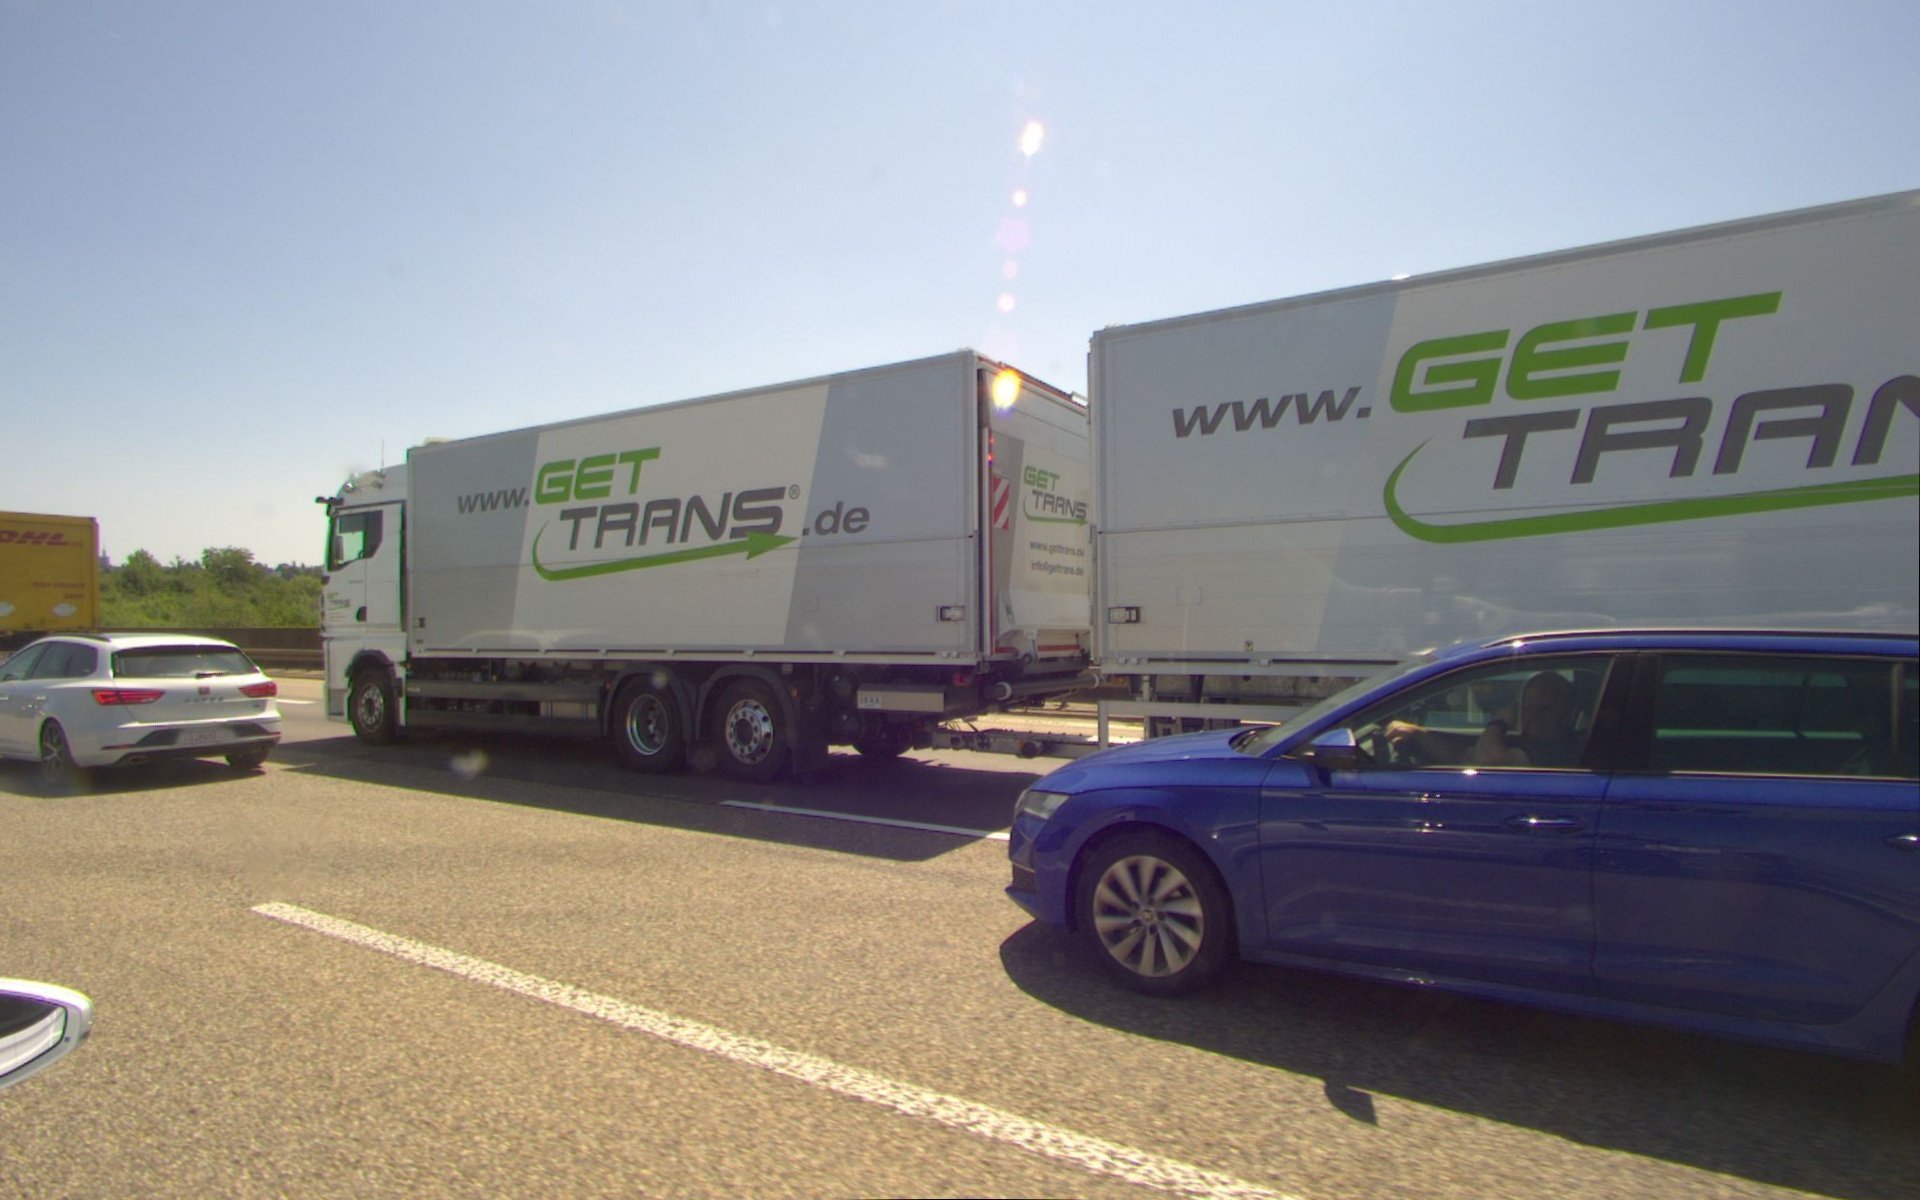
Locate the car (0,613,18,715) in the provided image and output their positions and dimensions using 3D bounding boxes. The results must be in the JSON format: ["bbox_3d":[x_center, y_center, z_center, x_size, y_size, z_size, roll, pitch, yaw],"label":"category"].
[{"bbox_3d":[-17.431,1.029,16.505,3.942,1.629,1.848,-1,-1,32],"label":"car"}]

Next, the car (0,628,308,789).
[{"bbox_3d":[-8.978,1.009,10.688,4.126,1.405,1.779,-1,-1,31],"label":"car"}]

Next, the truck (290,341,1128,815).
[{"bbox_3d":[-3.566,-0.127,11.702,10.610,3.649,2.847,0,-1,31],"label":"truck"}]

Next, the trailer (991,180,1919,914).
[{"bbox_3d":[4.455,-0.216,6.806,8.170,3.641,2.840,-1,-1,31],"label":"trailer"}]

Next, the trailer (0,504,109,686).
[{"bbox_3d":[-24.976,0.009,25.313,8.802,4.074,2.697,-1,-2,32],"label":"trailer"}]

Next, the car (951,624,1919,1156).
[{"bbox_3d":[2.281,0.827,3.985,4.435,1.459,1.707,-1,-1,32],"label":"car"}]
